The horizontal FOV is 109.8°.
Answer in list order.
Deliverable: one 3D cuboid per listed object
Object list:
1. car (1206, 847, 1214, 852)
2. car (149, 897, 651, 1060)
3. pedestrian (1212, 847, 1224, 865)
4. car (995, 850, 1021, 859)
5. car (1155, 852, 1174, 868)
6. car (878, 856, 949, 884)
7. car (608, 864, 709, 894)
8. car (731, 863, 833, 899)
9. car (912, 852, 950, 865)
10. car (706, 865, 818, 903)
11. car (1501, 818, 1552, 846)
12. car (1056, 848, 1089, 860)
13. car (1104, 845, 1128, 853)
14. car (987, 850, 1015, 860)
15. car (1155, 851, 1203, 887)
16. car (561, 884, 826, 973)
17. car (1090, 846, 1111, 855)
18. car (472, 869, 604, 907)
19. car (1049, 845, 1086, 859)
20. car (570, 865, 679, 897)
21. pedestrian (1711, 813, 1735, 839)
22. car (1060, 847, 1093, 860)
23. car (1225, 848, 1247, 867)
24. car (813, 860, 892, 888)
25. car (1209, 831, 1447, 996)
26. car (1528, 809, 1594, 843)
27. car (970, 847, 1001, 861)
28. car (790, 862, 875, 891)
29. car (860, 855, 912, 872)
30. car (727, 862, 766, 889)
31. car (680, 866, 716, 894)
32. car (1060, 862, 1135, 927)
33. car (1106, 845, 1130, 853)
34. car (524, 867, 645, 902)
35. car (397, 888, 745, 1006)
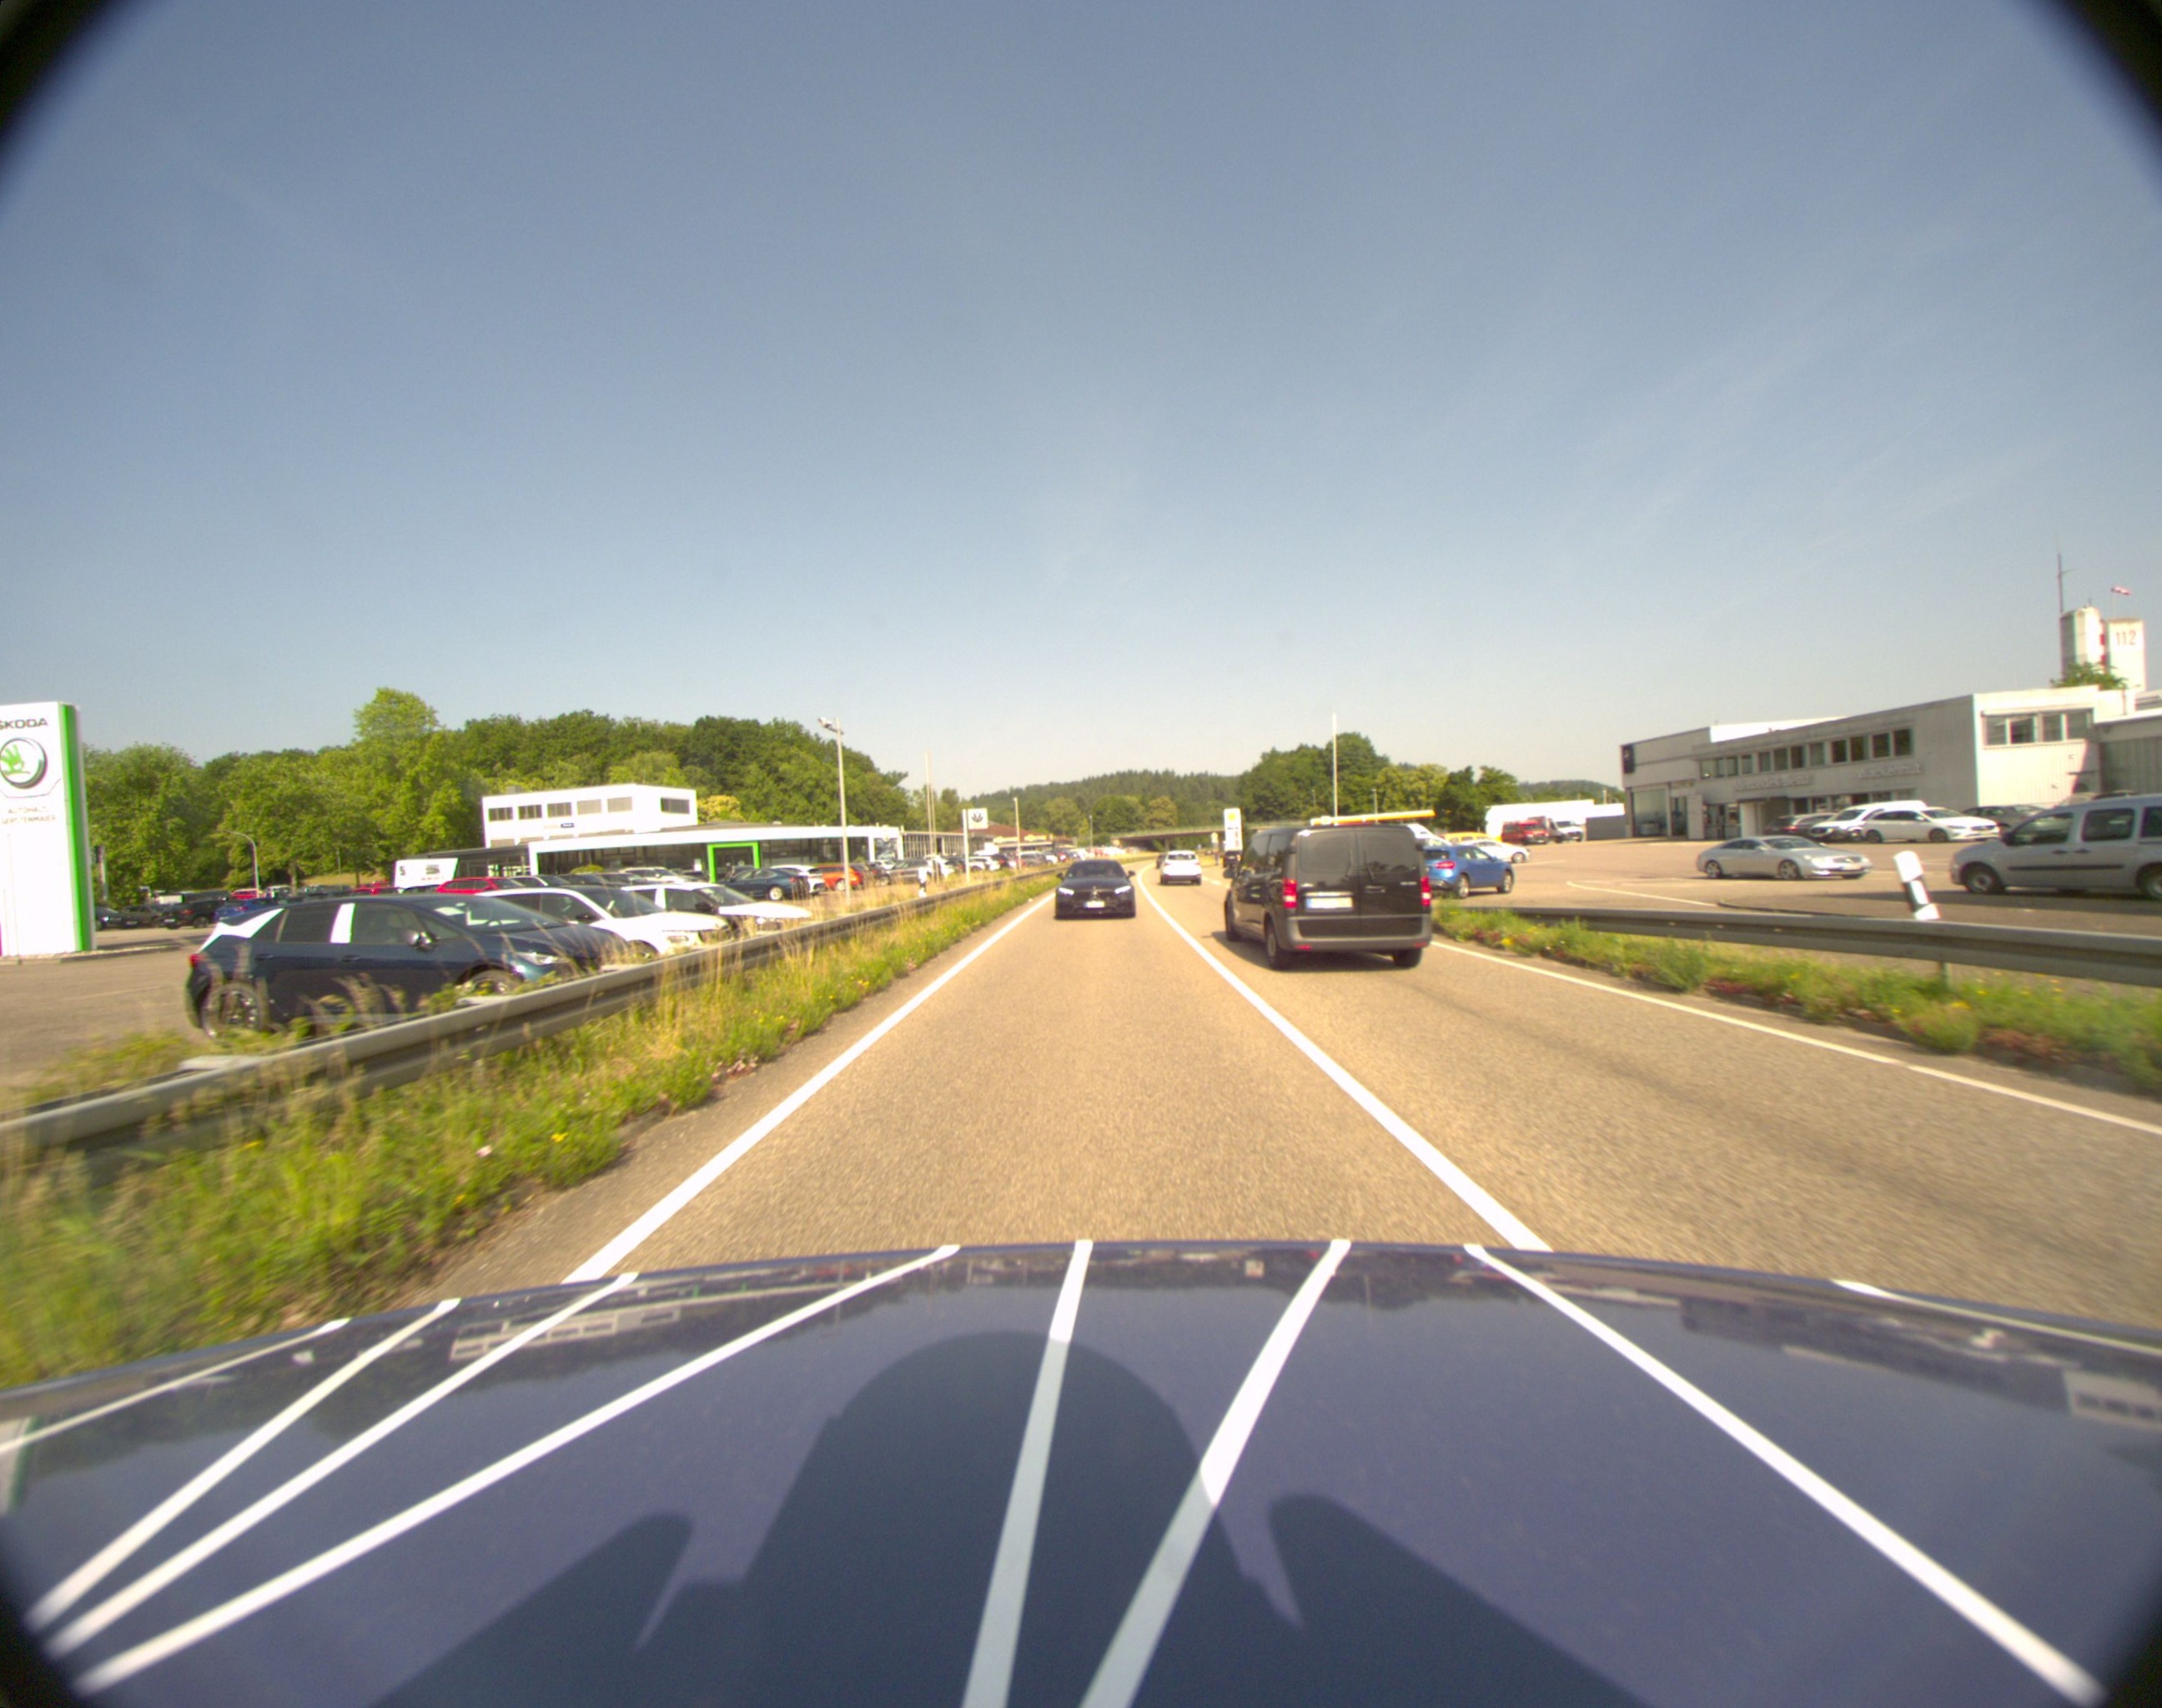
[{"bbox_3d":[32.763,-1.231,192.848,1.806,1.166,4.103,-1,0,12],"label":"car"},{"bbox_3d":[-7.503,1.338,8.675,4.169,1.536,1.740,-1,1,2],"label":"car"},{"bbox_3d":[13.743,0.200,76.188,0.848,1.680,1.145,-2,1,23],"label":"pedestrian"},{"bbox_3d":[-12.412,0.073,129.858,3.994,1.456,1.792,-1,1,11],"label":"car"},{"bbox_3d":[8.034,0.582,73.564,1.755,1.466,4.288,-1,0,5],"label":"car"},{"bbox_3d":[-10.698,1.030,48.743,4.086,1.600,1.792,-2,1,3],"label":"car"},{"bbox_3d":[-24.138,1.408,43.524,4.746,1.556,1.932,-1,1,6],"label":"car"},{"bbox_3d":[-14.409,1.289,36.741,4.101,1.507,1.825,-2,1,4],"label":"car"},{"bbox_3d":[-18.864,0.533,95.727,4.318,1.456,1.791,-1,1,7],"label":"car"},{"bbox_3d":[-14.198,1.311,33.960,4.166,1.507,1.824,-1,1,1],"label":"car"},{"bbox_3d":[41.487,-1.999,70.884,1.884,2.372,5.225,-2,0,4],"label":"car"},{"bbox_3d":[-1.089,0.024,99.568,4.046,1.498,1.807,-1,1,12],"label":"car"},{"bbox_3d":[6.834,-0.952,148.589,4.568,1.456,1.878,-1,1,11],"label":"car"},{"bbox_3d":[-13.129,0.144,124.824,4.317,1.456,1.792,-1,1,11],"label":"car"},{"bbox_3d":[4.687,0.678,36.721,1.796,1.620,4.226,-1,0,1],"label":"car"},{"bbox_3d":[-7.284,1.378,14.553,4.169,1.482,1.731,-1,1,2],"label":"car"},{"bbox_3d":[3.514,-0.653,136.188,3.543,1.456,1.806,-1,1,11],"label":"car"},{"bbox_3d":[-24.615,1.514,34.528,4.746,1.556,1.932,-1,1,6],"label":"car"},{"bbox_3d":[-1.700,-0.293,97.441,4.363,1.630,1.952,-2,1,10],"label":"car"},{"bbox_3d":[-24.294,1.437,40.539,4.746,1.556,1.932,-1,1,6],"label":"car"},{"bbox_3d":[42.269,-1.815,50.016,0.822,1.680,0.850,-2,1,1],"label":"pedestrian"},{"bbox_3d":[-0.585,-0.090,102.698,4.052,1.608,1.881,-1,1,12],"label":"car"},{"bbox_3d":[14.311,0.371,70.471,1.814,1.620,4.546,-1,-2,10],"label":"car"},{"bbox_3d":[-13.479,1.175,44.984,3.996,1.477,1.842,-2,1,4],"label":"car"},{"bbox_3d":[3.268,0.669,11.213,1.919,1.874,4.910,-1,0,0],"label":"car"},{"bbox_3d":[44.785,-2.530,71.165,2.400,2.839,6.530,-2,0,4],"label":"car"},{"bbox_3d":[-14.639,0.006,116.075,4.317,1.914,1.791,-1,1,9],"label":"car"},{"bbox_3d":[-13.738,1.237,42.137,3.996,1.437,1.825,-2,1,4],"label":"car"},{"bbox_3d":[-18.208,0.895,70.916,4.709,1.480,1.793,-1,1,27],"label":"car"},{"bbox_3d":[-22.081,1.386,50.081,1.934,1.556,4.741,-2,1,-28],"label":"car"},{"bbox_3d":[-24.588,1.605,48.725,1.934,1.556,4.741,-2,1,-28],"label":"car"},{"bbox_3d":[0.376,0.955,19.496,1.716,1.382,4.147,-1,0,0],"label":"car"},{"bbox_3d":[7.341,-1.016,152.092,4.568,1.456,1.878,-1,1,11],"label":"car"},{"bbox_3d":[-24.376,1.474,37.391,4.746,1.556,1.932,-1,1,6],"label":"car"},{"bbox_3d":[-7.695,1.373,11.744,4.169,1.547,1.771,-1,1,2],"label":"car"}]
